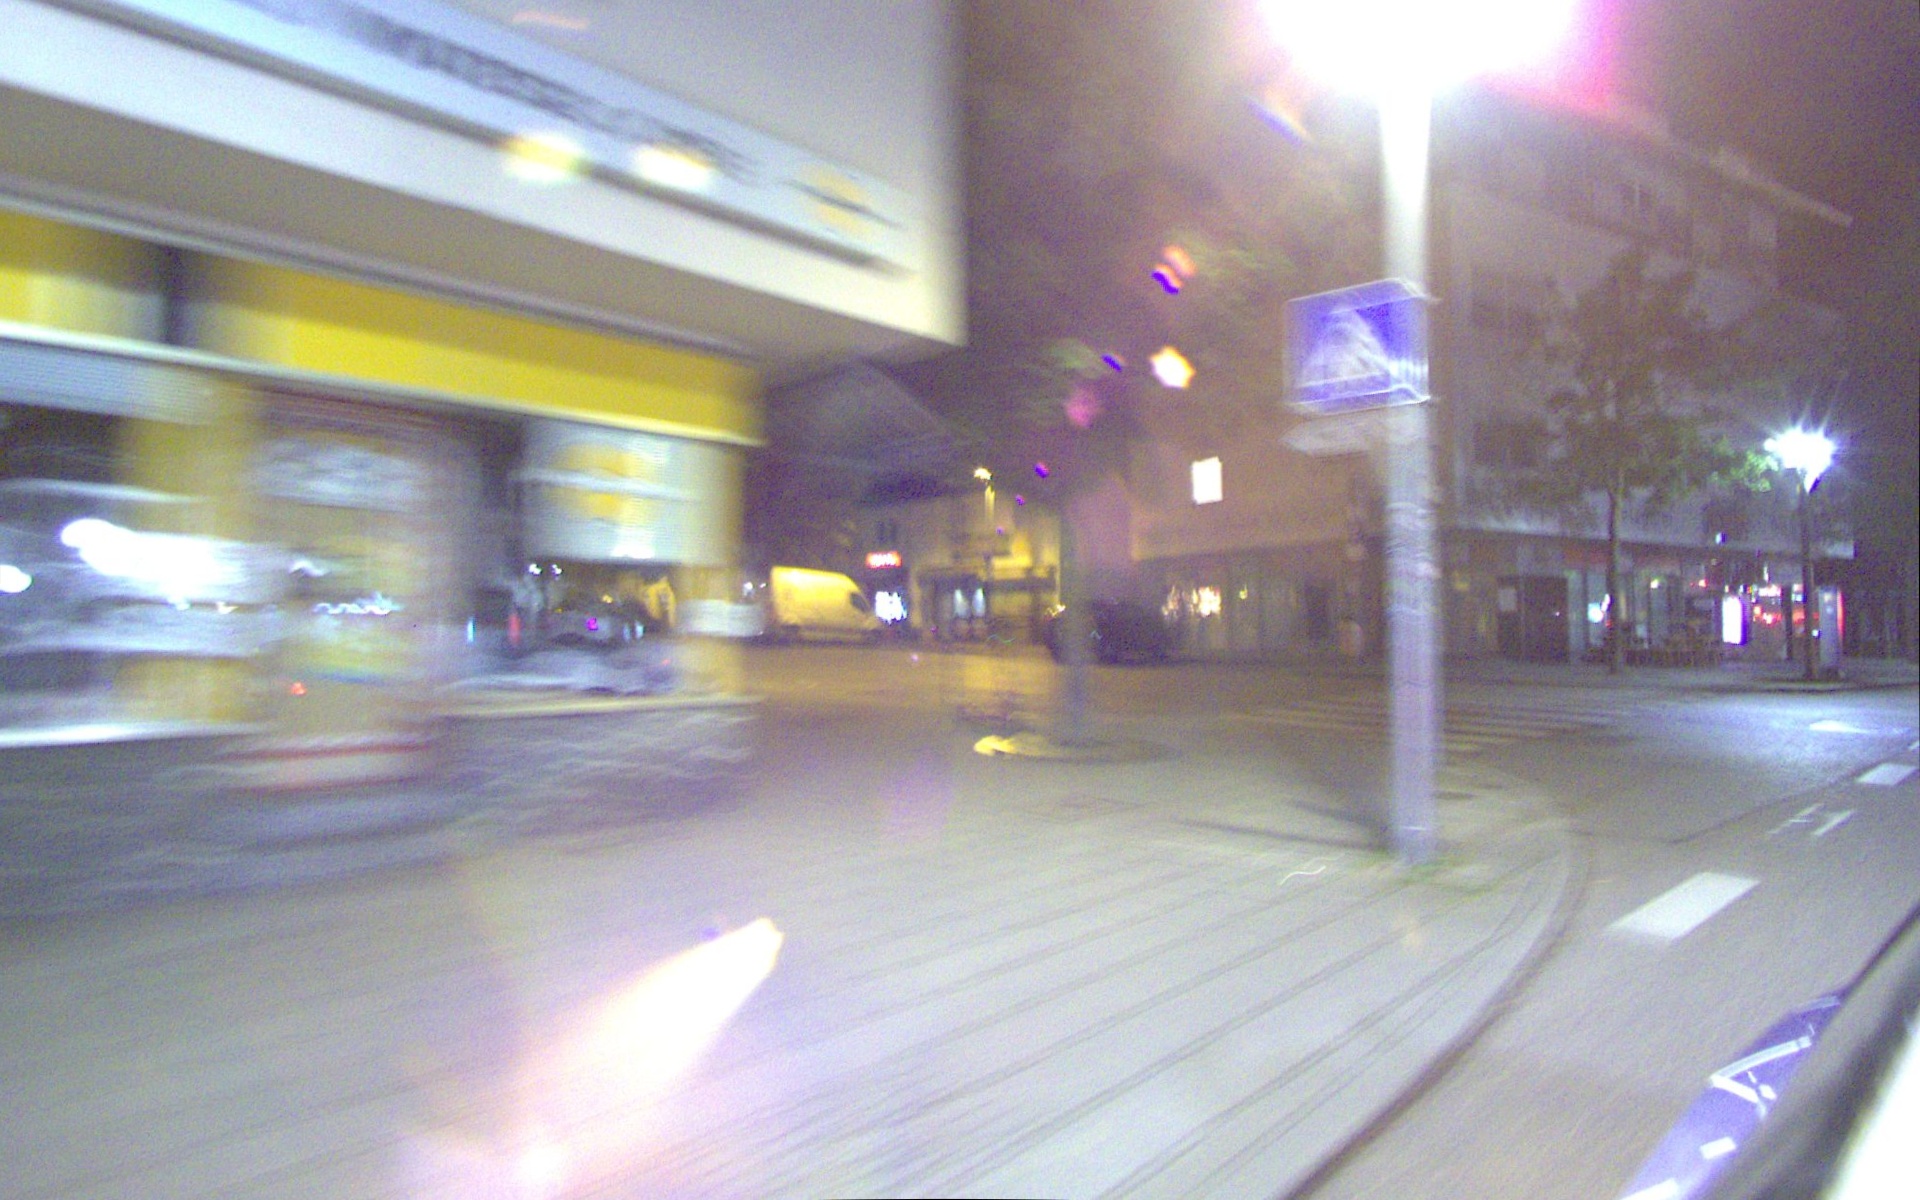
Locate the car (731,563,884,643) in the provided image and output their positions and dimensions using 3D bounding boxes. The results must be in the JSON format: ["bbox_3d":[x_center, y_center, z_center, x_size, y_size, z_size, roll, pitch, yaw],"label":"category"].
[{"bbox_3d":[-5.327,0.213,36.016,1.990,2.624,5.423,-1,-3,40],"label":"car"}]

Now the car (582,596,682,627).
[{"bbox_3d":[-16.676,0.590,51.531,4.408,1.450,1.997,3,-2,-41],"label":"car"}]

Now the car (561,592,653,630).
[{"bbox_3d":[-18.615,0.593,53.423,4.138,1.890,1.997,3,-2,-41],"label":"car"}]

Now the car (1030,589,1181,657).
[{"bbox_3d":[4.040,0.653,27.668,4.142,1.716,1.995,3,-3,-44],"label":"car"}]
